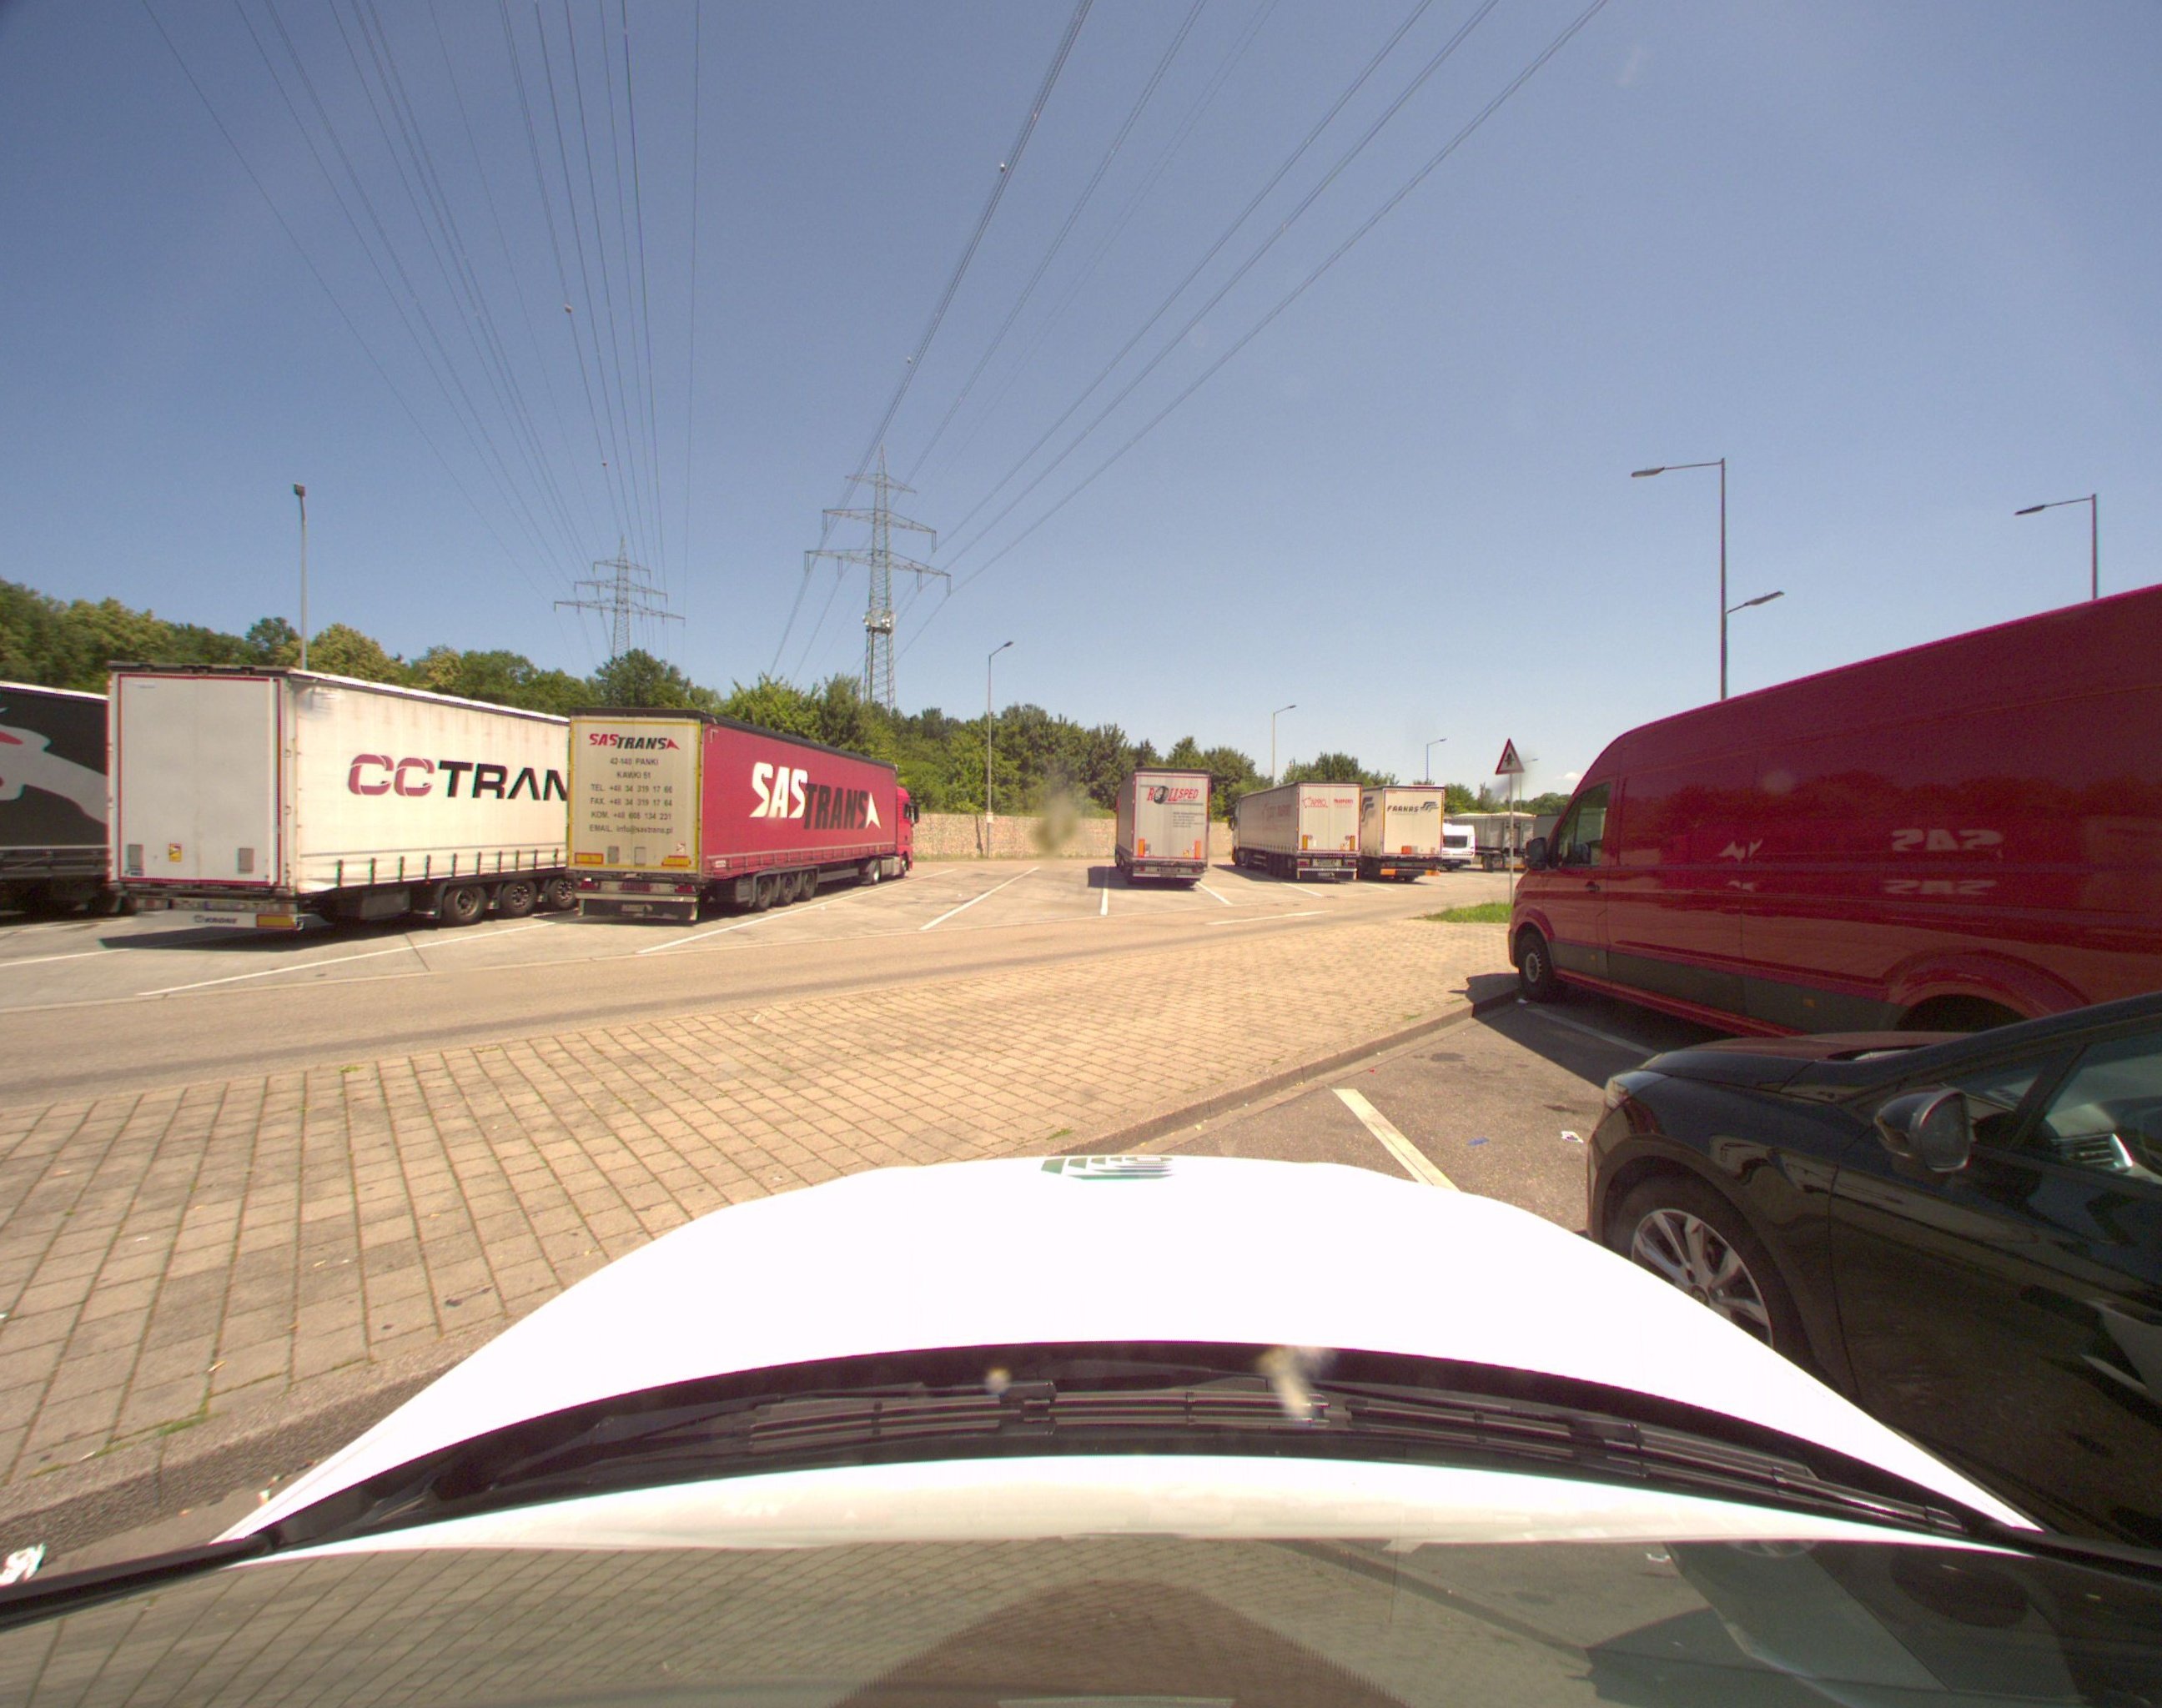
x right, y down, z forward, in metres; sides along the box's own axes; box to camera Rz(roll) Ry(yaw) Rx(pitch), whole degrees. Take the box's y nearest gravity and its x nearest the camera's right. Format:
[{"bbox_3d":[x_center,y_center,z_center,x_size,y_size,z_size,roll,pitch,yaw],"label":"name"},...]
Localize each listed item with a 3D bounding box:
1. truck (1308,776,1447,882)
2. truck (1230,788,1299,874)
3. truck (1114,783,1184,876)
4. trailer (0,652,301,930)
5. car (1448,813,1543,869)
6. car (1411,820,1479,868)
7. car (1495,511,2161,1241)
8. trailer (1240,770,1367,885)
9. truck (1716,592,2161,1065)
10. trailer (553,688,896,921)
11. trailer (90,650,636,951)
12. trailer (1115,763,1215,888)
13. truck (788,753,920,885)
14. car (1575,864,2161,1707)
[{"bbox_3d":[13.528,-0.940,38.586,2.577,4.226,11.974,0,-1,2],"label":"truck"},{"bbox_3d":[10.078,-1.235,45.358,2.651,4.452,5.866,-1,1,2],"label":"truck"},{"bbox_3d":[3.030,-1.088,37.789,2.861,3.980,6.031,-1,1,1],"label":"truck"},{"bbox_3d":[-18.561,-0.995,14.815,2.668,4.445,6.151,0,0,2],"label":"trailer"},{"bbox_3d":[24.132,-0.752,47.751,2.490,3.074,6.353,-1,1,2],"label":"car"},{"bbox_3d":[20.533,-0.518,46.129,2.107,2.599,4.001,0,-1,2],"label":"car"},{"bbox_3d":[5.145,0.034,5.502,1.984,2.633,6.393,-1,1,5],"label":"car"},{"bbox_3d":[9.896,-1.112,38.064,2.672,4.452,12.833,-1,1,1],"label":"trailer"},{"bbox_3d":[7.790,-0.148,6.084,2.508,2.827,4.821,0,-1,3],"label":"truck"},{"bbox_3d":[-8.007,-0.996,21.455,2.789,4.219,13.208,-1,1,2],"label":"trailer"},{"bbox_3d":[-12.192,-0.807,15.404,2.744,4.152,8.291,0,1,2],"label":"trailer"},{"bbox_3d":[2.967,-1.000,32.108,2.887,4.013,11.319,-1,1,1],"label":"trailer"},{"bbox_3d":[-7.756,-1.143,28.712,2.795,4.133,5.896,-1,1,2],"label":"truck"},{"bbox_3d":[2.557,0.753,0.835,1.772,1.457,3.682,0,-1,-2],"label":"car"}]
